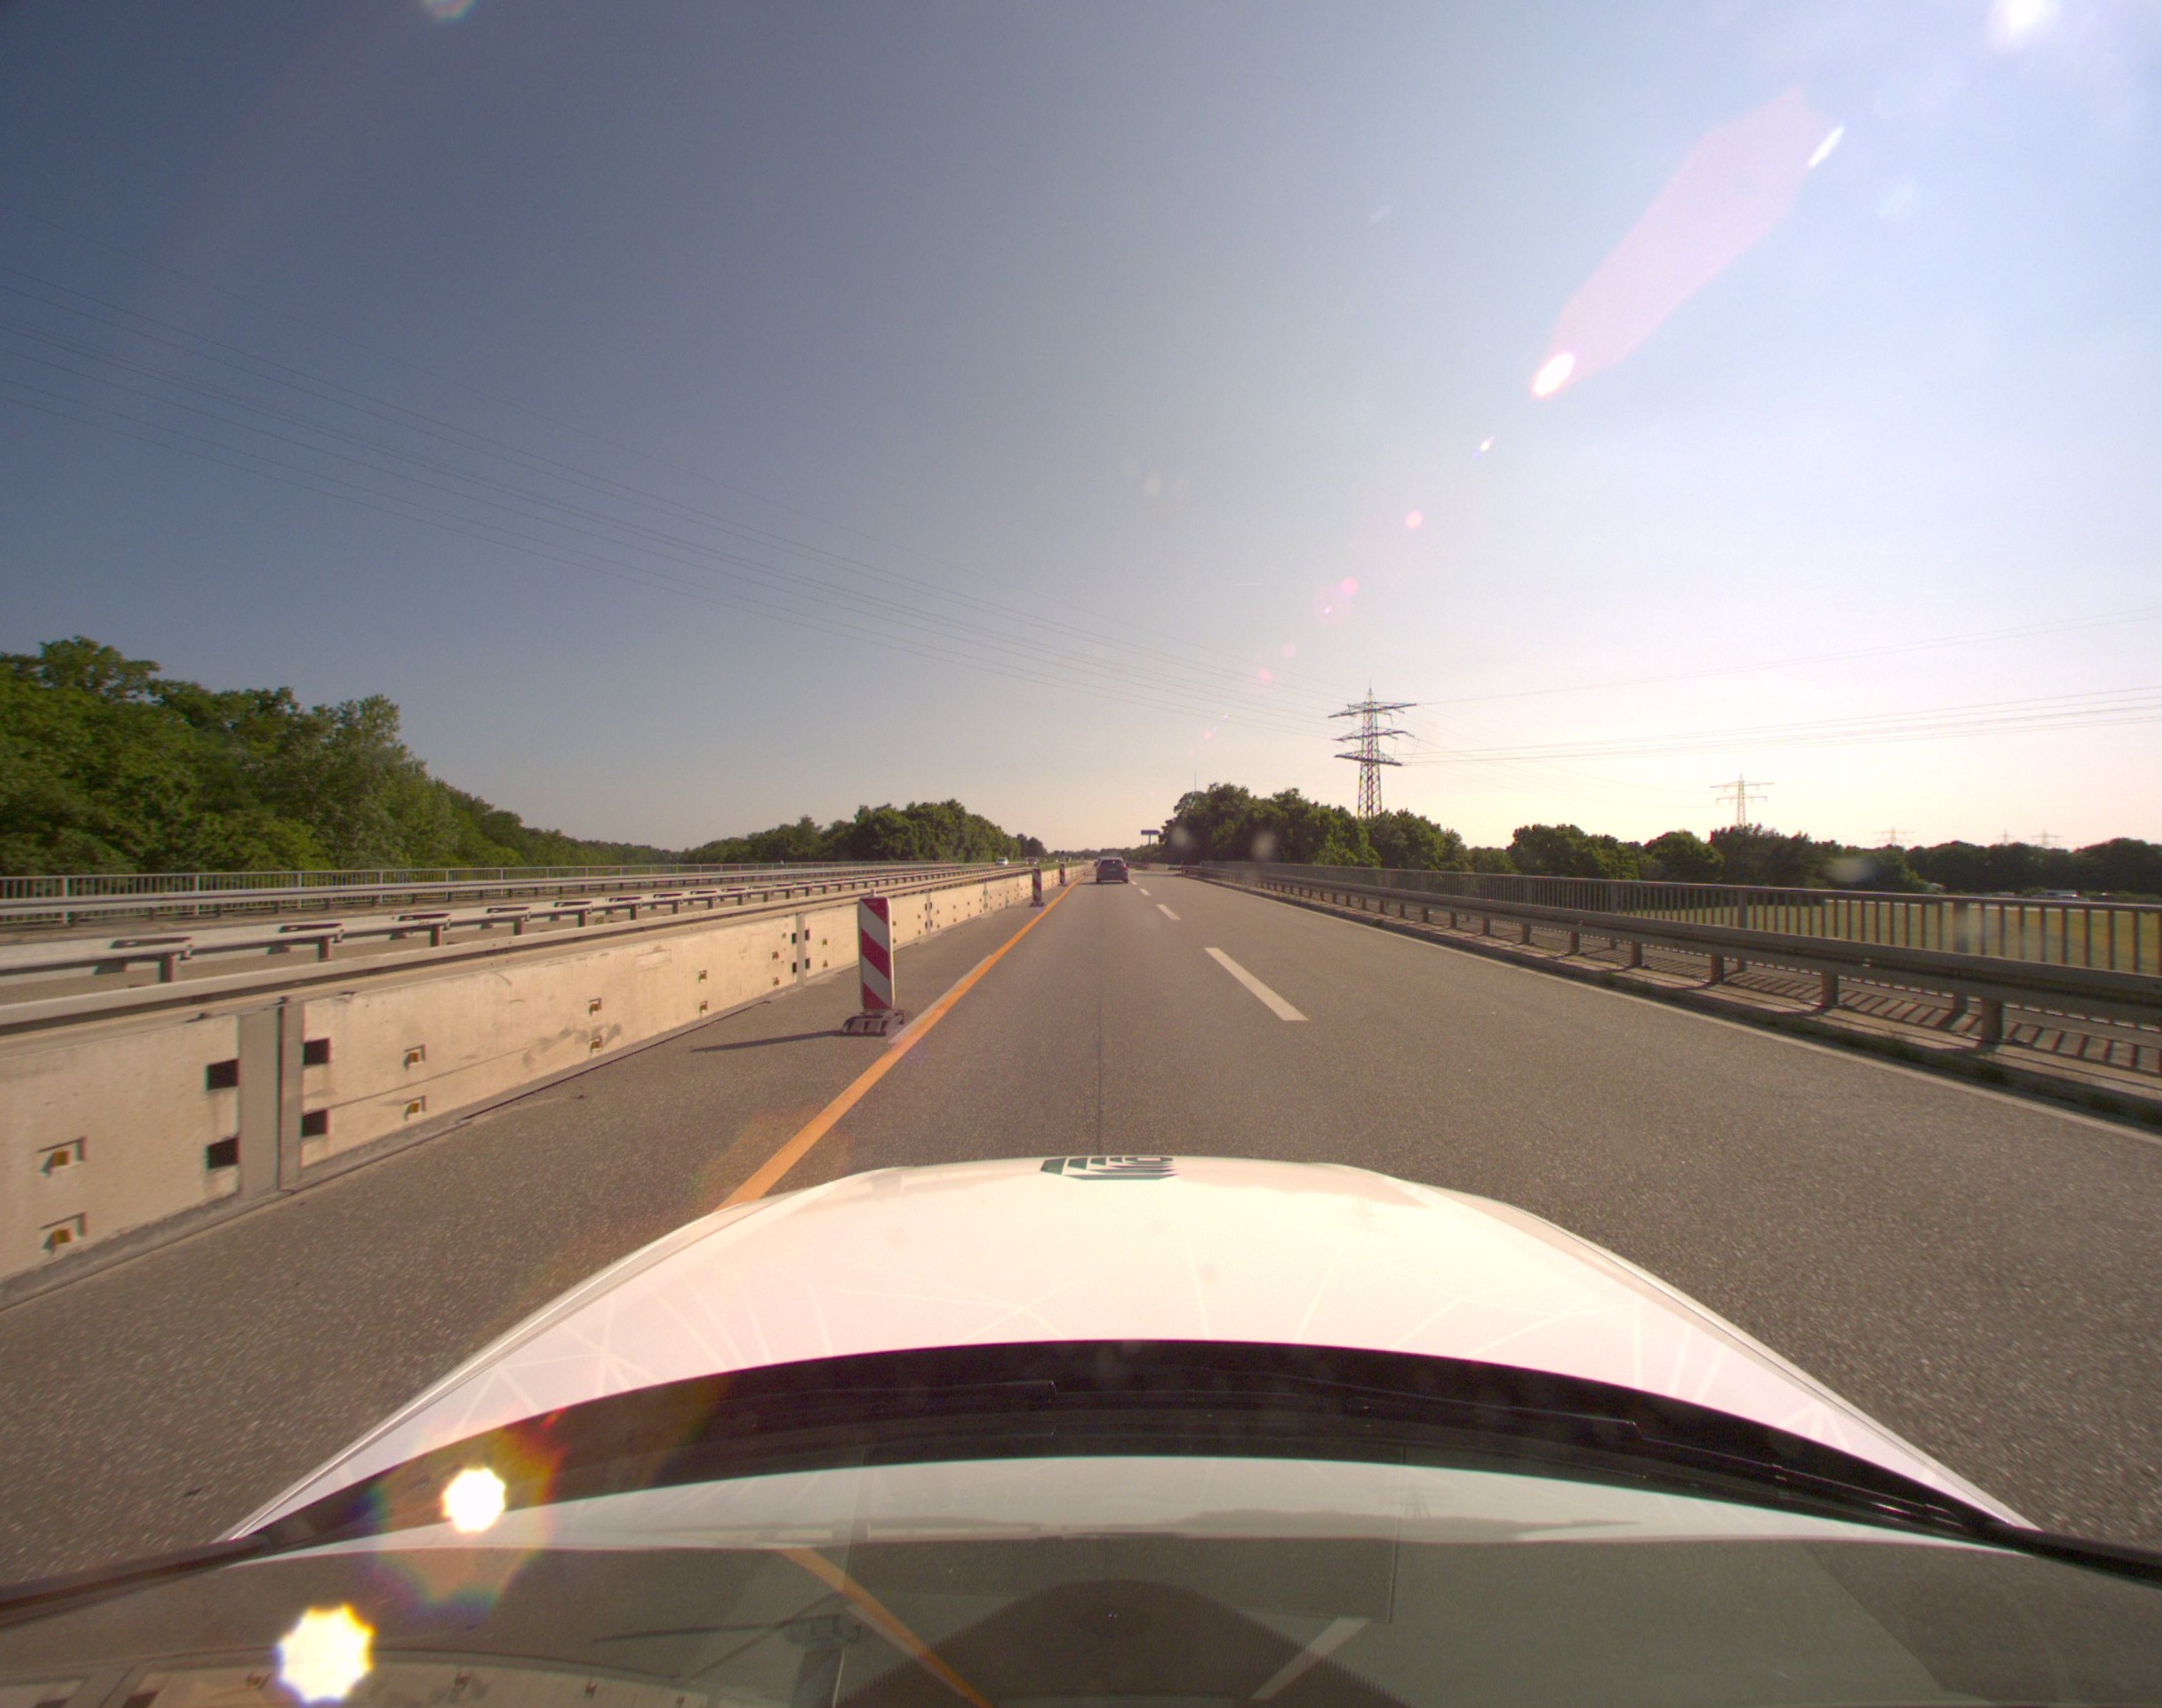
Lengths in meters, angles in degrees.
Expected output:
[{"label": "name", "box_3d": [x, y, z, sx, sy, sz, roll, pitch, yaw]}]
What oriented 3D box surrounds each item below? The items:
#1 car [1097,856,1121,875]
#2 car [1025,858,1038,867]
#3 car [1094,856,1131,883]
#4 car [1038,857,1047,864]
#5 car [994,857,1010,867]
[{"label": "car", "box_3d": [2.468, 0.955, 71.423, 1.986, 1.567, 4.002, -1, 0, 2]}, {"label": "car", "box_3d": [-7.500, 1.288, 124.169, 1.708, 1.397, 4.221, -1, 0, 1]}, {"label": "car", "box_3d": [1.733, 0.840, 45.893, 1.914, 1.494, 4.000, 0, 0, 0]}, {"label": "car", "box_3d": [-9.255, 1.540, 197.433, 1.756, 1.583, 4.424, -2, -1, 2]}, {"label": "car", "box_3d": [-11.746, 1.122, 121.301, 1.771, 1.393, 4.127, -2, 0, 1]}]
